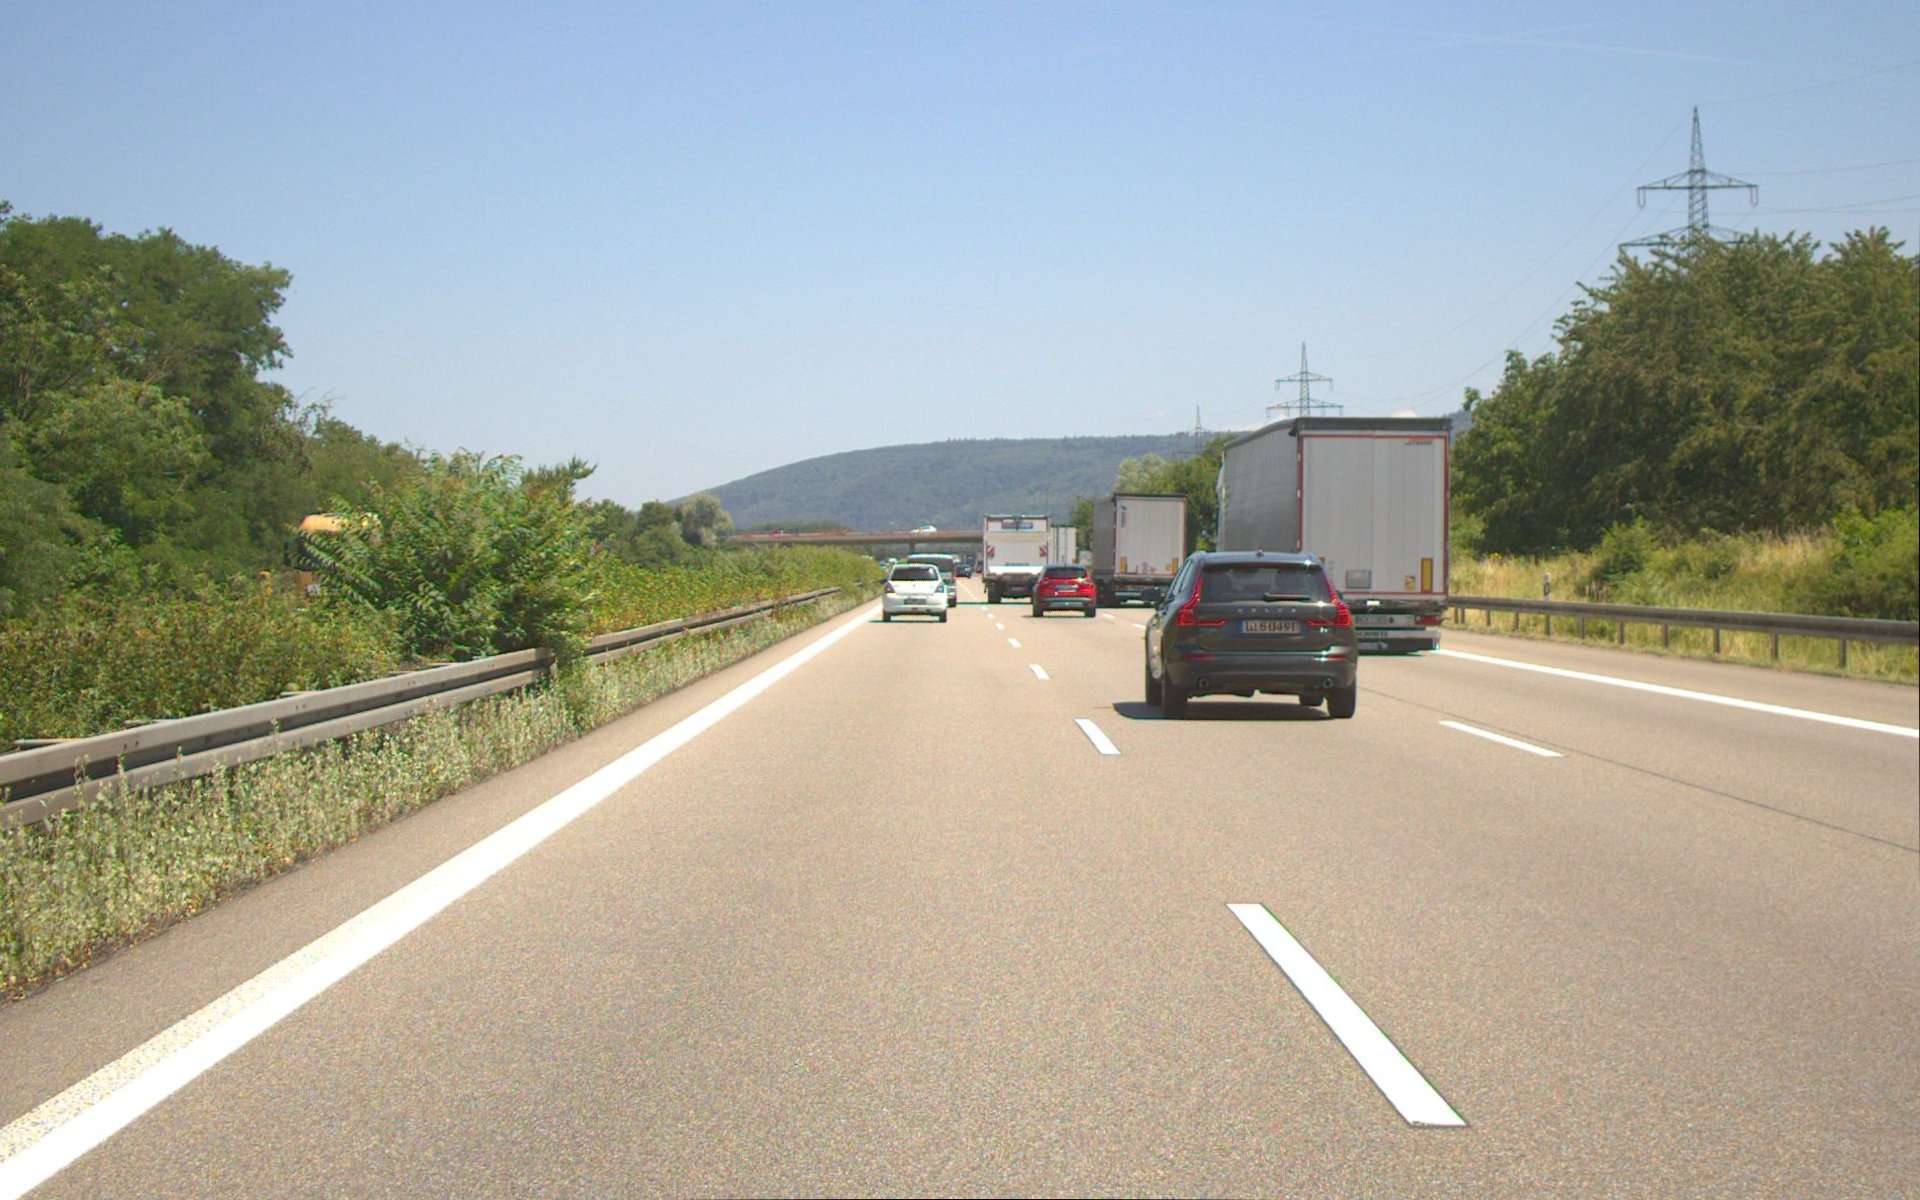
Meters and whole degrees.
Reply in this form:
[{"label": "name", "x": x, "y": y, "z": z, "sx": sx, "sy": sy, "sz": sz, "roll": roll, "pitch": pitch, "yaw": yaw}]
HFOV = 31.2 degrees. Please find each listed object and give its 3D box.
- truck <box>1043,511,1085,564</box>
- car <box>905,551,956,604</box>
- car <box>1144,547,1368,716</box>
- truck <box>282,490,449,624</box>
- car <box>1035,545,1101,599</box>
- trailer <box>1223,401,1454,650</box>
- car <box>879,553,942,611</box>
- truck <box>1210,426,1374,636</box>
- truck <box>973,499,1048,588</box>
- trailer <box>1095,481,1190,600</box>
[{"label": "truck", "x": 6.489, "y": -3.864, "z": 214.858, "sx": 2.221, "sy": 3.198, "sz": 10.385, "roll": -1, "pitch": 1, "yaw": 0}, {"label": "car", "x": -1.046, "y": -0.822, "z": 122.290, "sx": 1.760, "sy": 1.844, "sz": 4.000, "roll": -1, "pitch": 1, "yaw": -1}, {"label": "car", "x": 2.934, "y": 0.274, "z": 34.800, "sx": 1.873, "sy": 1.618, "sz": 4.004, "roll": 0, "pitch": 1, "yaw": -1}, {"label": "truck", "x": -17.846, "y": -1.336, "z": 104.047, "sx": 2.899, "sy": 3.693, "sz": 11.899, "roll": -3, "pitch": 1, "yaw": 0}, {"label": "car", "x": 3.136, "y": -0.817, "z": 100.461, "sx": 1.803, "sy": 1.540, "sz": 4.000, "roll": 0, "pitch": 1, "yaw": 0}, {"label": "trailer", "x": 6.762, "y": -1.306, "z": 63.422, "sx": 2.736, "sy": 4.092, "sz": 13.122, "roll": 0, "pitch": 1, "yaw": 0}, {"label": "car", "x": -1.297, "y": -0.480, "z": 90.409, "sx": 1.607, "sy": 1.463, "sz": 4.000, "roll": -1, "pitch": 1, "yaw": -1}, {"label": "truck", "x": 6.737, "y": -1.385, "z": 70.571, "sx": 2.736, "sy": 4.105, "sz": 6.125, "roll": 0, "pitch": 1, "yaw": 0}, {"label": "truck", "x": 1.944, "y": -2.197, "z": 135.804, "sx": 2.782, "sy": 3.361, "sz": 8.128, "roll": 0, "pitch": 0, "yaw": 0}, {"label": "trailer", "x": 6.673, "y": -2.159, "z": 127.458, "sx": 2.789, "sy": 4.149, "sz": 13.574, "roll": -1, "pitch": 1, "yaw": 0}]
